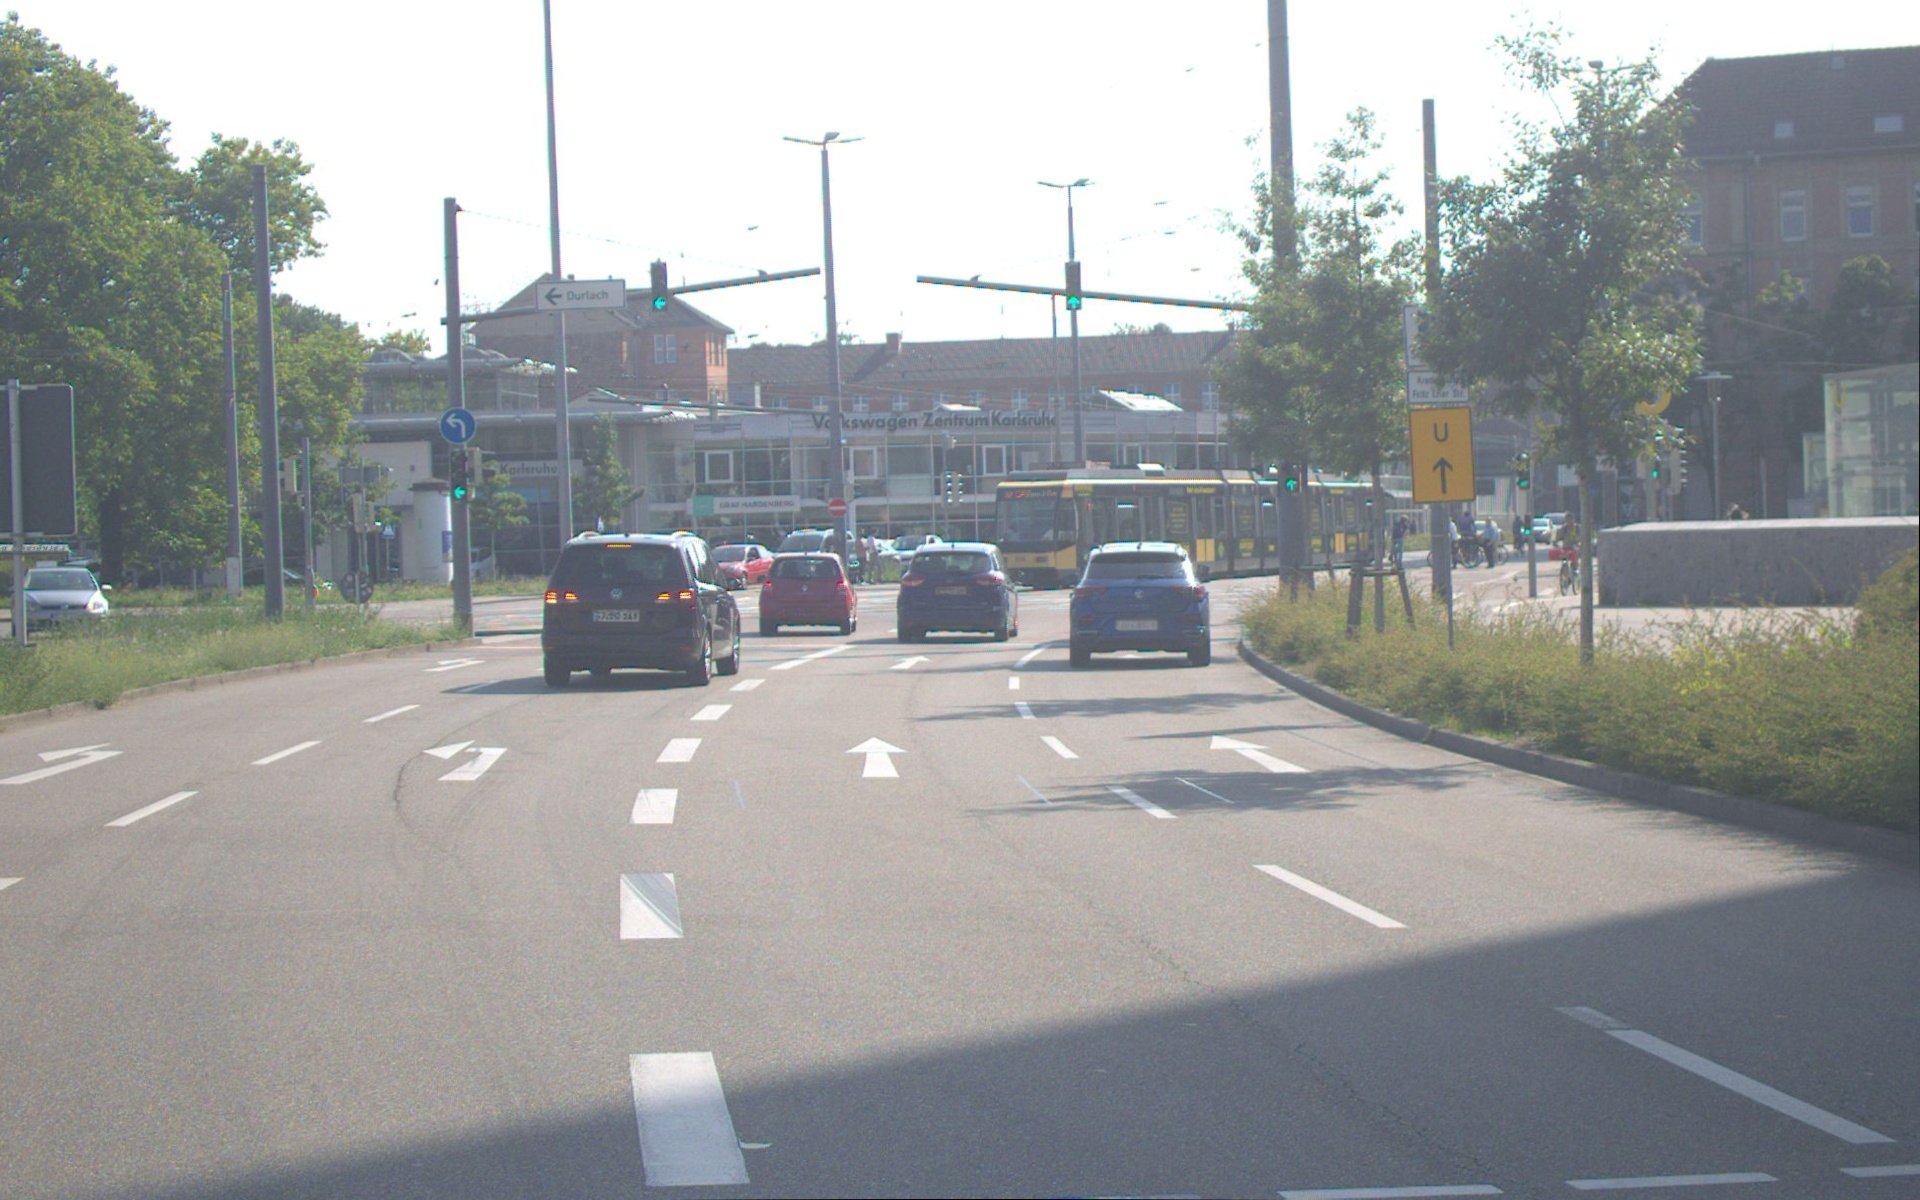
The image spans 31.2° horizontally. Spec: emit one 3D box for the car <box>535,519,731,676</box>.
[{"bbox_3d":[-3.731,-0.076,39.931,1.825,1.708,4.412,0,1,0],"label":"car"}]

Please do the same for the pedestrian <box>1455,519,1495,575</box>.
[{"bbox_3d":[16.787,-1.725,112.003,0.925,1.791,0.859,-2,1,-38],"label":"pedestrian"}]

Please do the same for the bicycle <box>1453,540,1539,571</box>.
[{"bbox_3d":[17.872,-1.497,114.675,2.617,0.961,1.093,-2,1,-22],"label":"bicycle"}]

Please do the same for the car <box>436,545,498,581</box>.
[{"bbox_3d":[-21.604,-1.646,150.697,1.700,1.517,4.098,-1,1,6],"label":"car"}]

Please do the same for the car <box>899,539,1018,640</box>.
[{"bbox_3d":[-0.012,-0.200,56.670,1.825,1.530,4.412,-2,1,0],"label":"car"}]

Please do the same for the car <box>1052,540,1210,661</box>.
[{"bbox_3d":[2.182,-0.037,44.861,1.825,1.423,4.412,-2,1,0],"label":"car"}]

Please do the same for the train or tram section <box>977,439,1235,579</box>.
[{"bbox_3d":[4.266,-2.613,96.826,2.659,3.686,10.573,-1,1,29],"label":"train or tram section"}]

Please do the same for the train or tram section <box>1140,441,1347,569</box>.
[{"bbox_3d":[8.879,-2.977,106.284,2.710,3.686,10.575,-1,1,25],"label":"train or tram section"}]

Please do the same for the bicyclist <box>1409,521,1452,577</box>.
[{"bbox_3d":[15.483,-1.681,113.199,0.934,1.793,1.093,-2,1,-21],"label":"bicyclist"}]

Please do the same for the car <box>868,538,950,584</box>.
[{"bbox_3d":[-1.766,-1.380,119.501,1.615,1.470,3.997,-3,0,17],"label":"car"}]

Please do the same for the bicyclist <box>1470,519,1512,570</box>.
[{"bbox_3d":[17.685,-1.857,114.591,0.934,1.674,1.093,-2,1,-21],"label":"bicyclist"}]

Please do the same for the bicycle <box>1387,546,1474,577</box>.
[{"bbox_3d":[15.507,-1.262,113.216,2.617,0.961,1.093,-2,1,-22],"label":"bicycle"}]

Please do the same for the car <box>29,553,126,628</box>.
[{"bbox_3d":[-17.924,-0.214,69.854,1.813,1.428,4.226,-2,1,-14],"label":"car"}]

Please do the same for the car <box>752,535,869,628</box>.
[{"bbox_3d":[-2.637,-0.364,61.530,1.825,1.530,4.412,-2,1,0],"label":"car"}]

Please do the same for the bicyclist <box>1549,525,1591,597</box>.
[{"bbox_3d":[13.011,-0.840,73.326,0.720,1.507,1.003,-1,1,18],"label":"bicyclist"}]

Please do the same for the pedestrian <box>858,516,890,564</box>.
[{"bbox_3d":[-2.703,-1.885,108.173,0.778,1.498,0.710,-1,1,18],"label":"pedestrian"}]

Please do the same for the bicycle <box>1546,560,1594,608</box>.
[{"bbox_3d":[13.008,-0.344,73.309,0.720,0.956,1.920,-1,1,18],"label":"bicycle"}]
